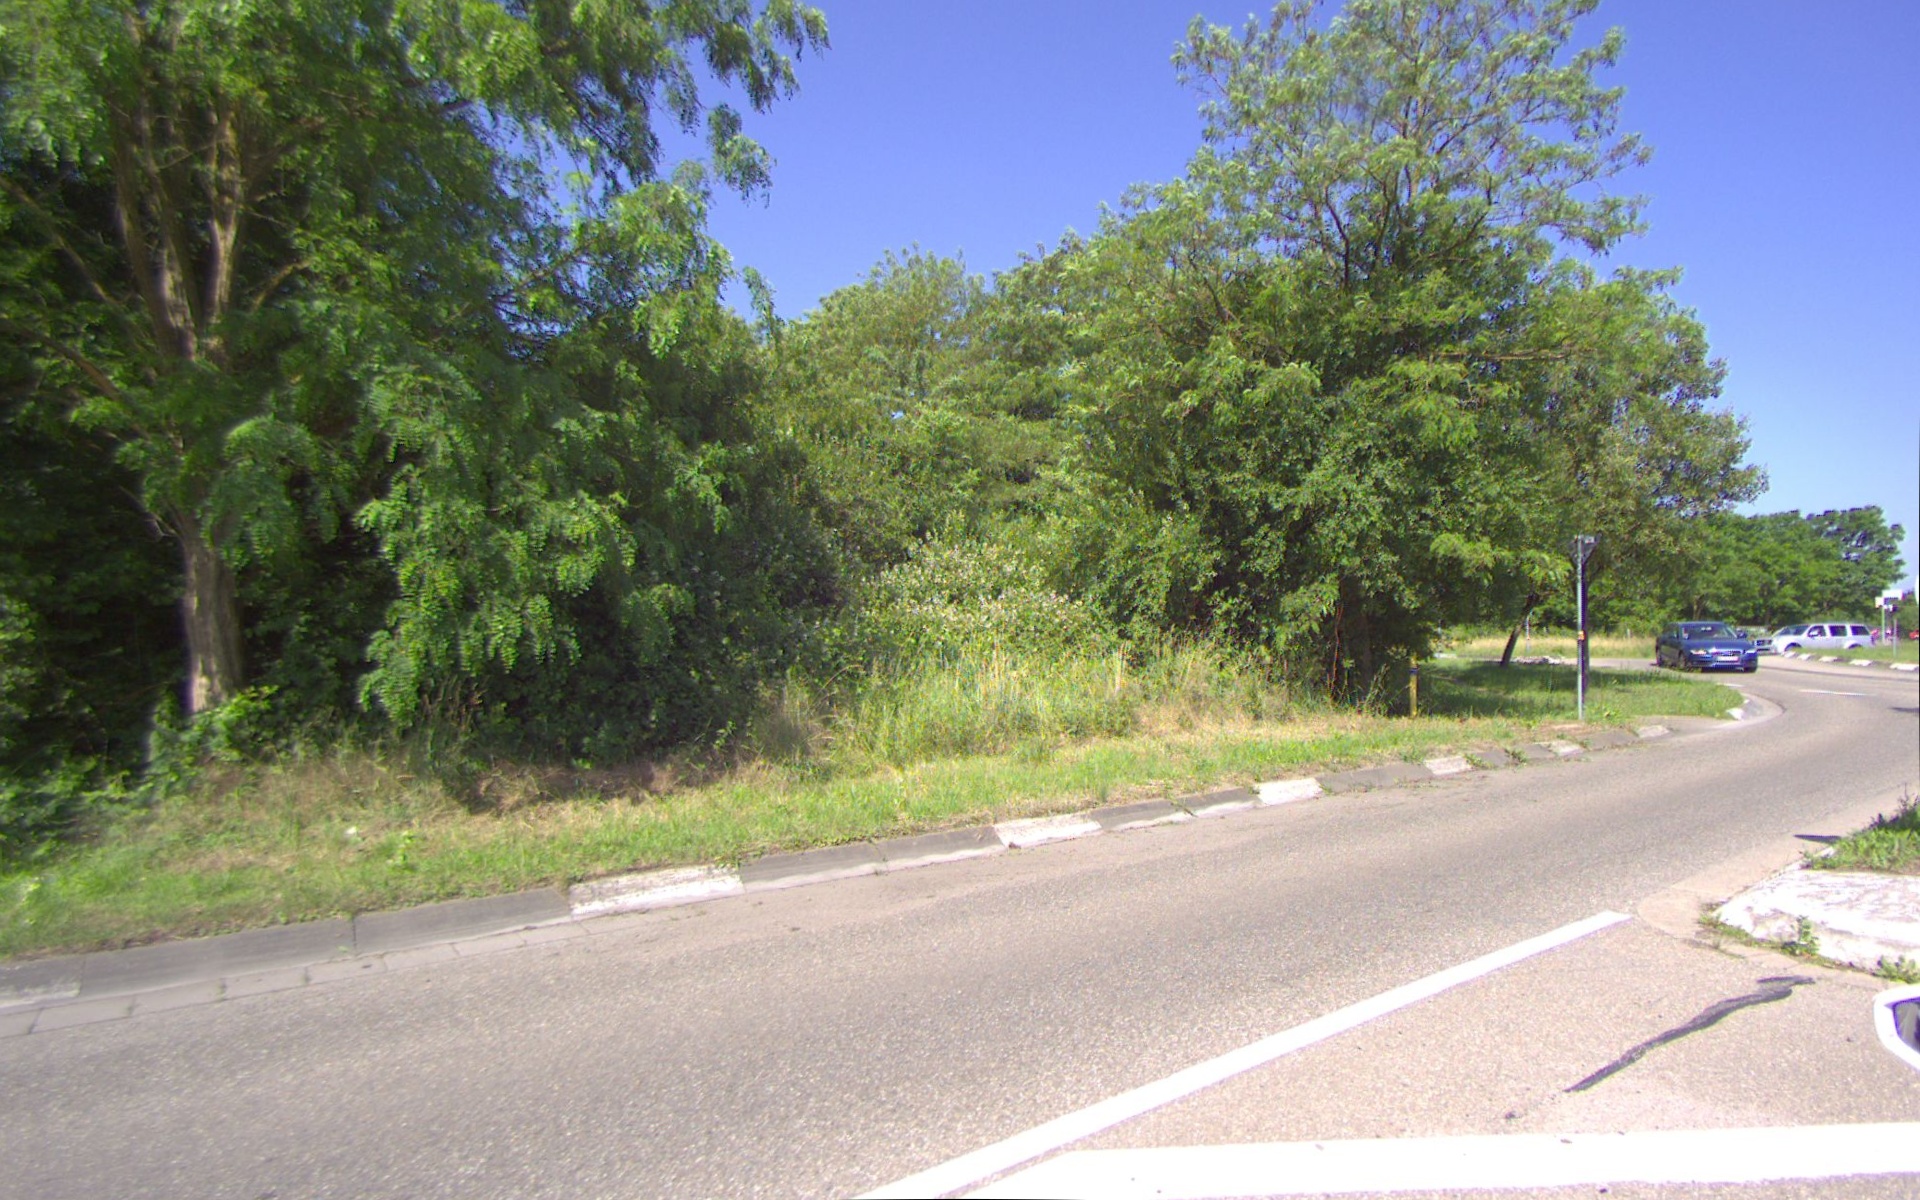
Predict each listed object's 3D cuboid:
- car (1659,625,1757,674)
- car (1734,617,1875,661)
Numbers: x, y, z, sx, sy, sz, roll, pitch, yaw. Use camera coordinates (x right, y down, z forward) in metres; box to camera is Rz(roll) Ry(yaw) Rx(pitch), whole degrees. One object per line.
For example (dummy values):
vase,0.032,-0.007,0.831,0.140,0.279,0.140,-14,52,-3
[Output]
car,22.885,1.473,30.875,1.806,1.405,4.417,-2,-2,29
car,36.542,1.677,43.556,4.505,1.840,1.900,0,-1,0
